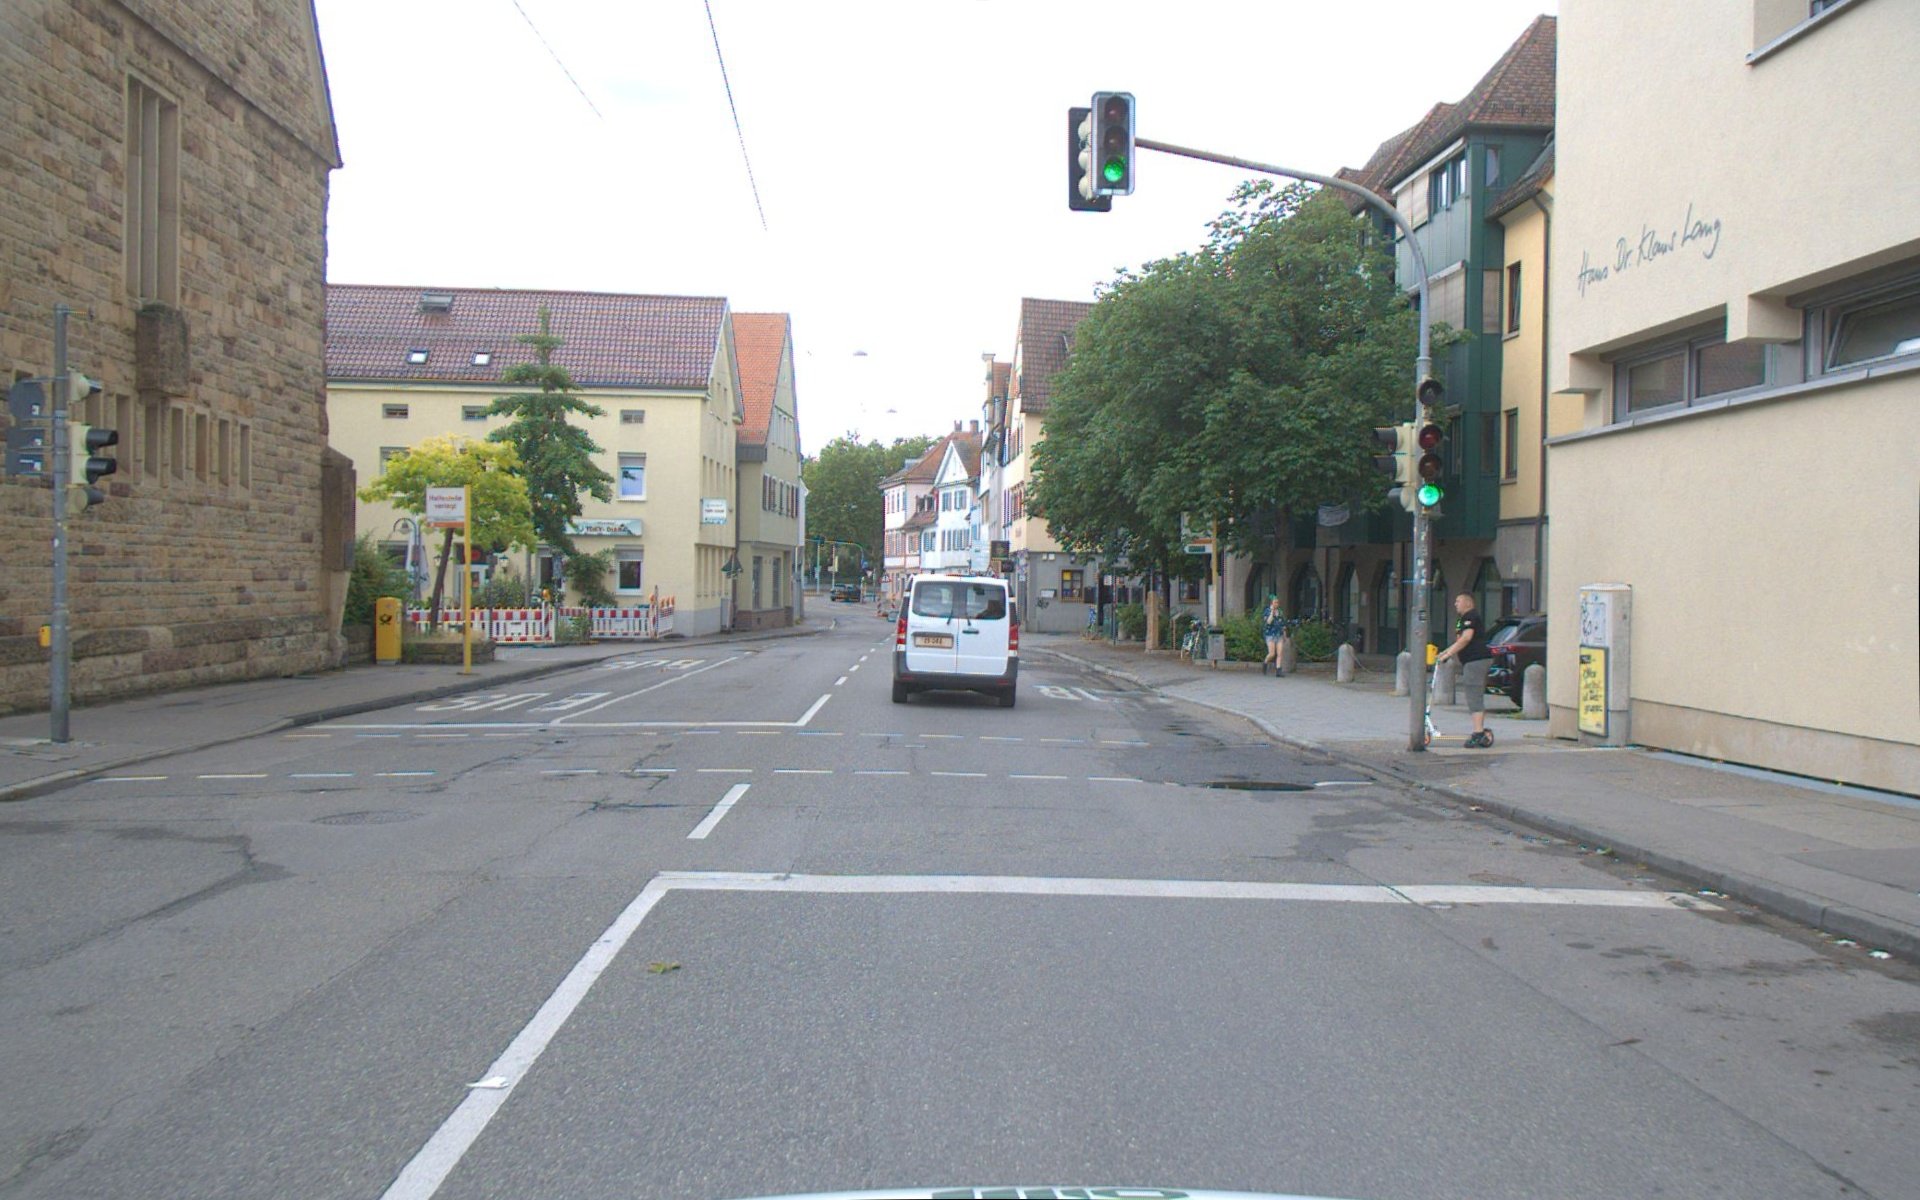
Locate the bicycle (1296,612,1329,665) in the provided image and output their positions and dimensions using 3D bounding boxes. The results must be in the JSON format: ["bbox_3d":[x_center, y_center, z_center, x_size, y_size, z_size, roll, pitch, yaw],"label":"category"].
[{"bbox_3d":[9.024,0.964,42.390,0.326,1.323,1.958,1,-1,-2],"label":"bicycle"}]

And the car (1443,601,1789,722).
[{"bbox_3d":[9.642,0.881,24.607,4.415,1.601,1.854,1,-1,5],"label":"car"}]

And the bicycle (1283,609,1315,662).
[{"bbox_3d":[8.662,0.897,42.281,0.326,1.323,1.958,1,-1,-2],"label":"bicycle"}]

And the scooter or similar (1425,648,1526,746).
[{"bbox_3d":[5.369,1.003,17.265,0.650,0.962,0.817,-2,-2,-12],"label":"scooter or similar"}]

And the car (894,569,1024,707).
[{"bbox_3d":[-0.014,0.565,25.572,1.834,1.945,3.999,1,-1,0],"label":"car"}]

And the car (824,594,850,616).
[{"bbox_3d":[-12.005,0.525,161.558,1.901,2.049,3.987,2,-1,-13],"label":"car"}]

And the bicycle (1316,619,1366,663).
[{"bbox_3d":[9.748,1.029,42.408,0.534,1.088,2.288,0,0,-6],"label":"bicycle"}]

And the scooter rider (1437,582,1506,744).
[{"bbox_3d":[5.357,0.655,17.343,0.444,1.660,0.503,-1,-2,-16],"label":"scooter rider"}]

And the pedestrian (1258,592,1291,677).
[{"bbox_3d":[6.509,0.707,34.274,0.589,1.746,0.860,1,0,6],"label":"pedestrian"}]

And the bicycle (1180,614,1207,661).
[{"bbox_3d":[6.016,0.957,42.657,0.326,1.161,1.958,1,-1,-2],"label":"bicycle"}]

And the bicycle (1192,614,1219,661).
[{"bbox_3d":[6.343,0.957,42.774,0.326,1.161,1.958,1,-1,-2],"label":"bicycle"}]

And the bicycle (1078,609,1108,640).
[{"bbox_3d":[5.056,0.925,62.997,0.492,1.126,1.628,0,0,-21],"label":"bicycle"}]
